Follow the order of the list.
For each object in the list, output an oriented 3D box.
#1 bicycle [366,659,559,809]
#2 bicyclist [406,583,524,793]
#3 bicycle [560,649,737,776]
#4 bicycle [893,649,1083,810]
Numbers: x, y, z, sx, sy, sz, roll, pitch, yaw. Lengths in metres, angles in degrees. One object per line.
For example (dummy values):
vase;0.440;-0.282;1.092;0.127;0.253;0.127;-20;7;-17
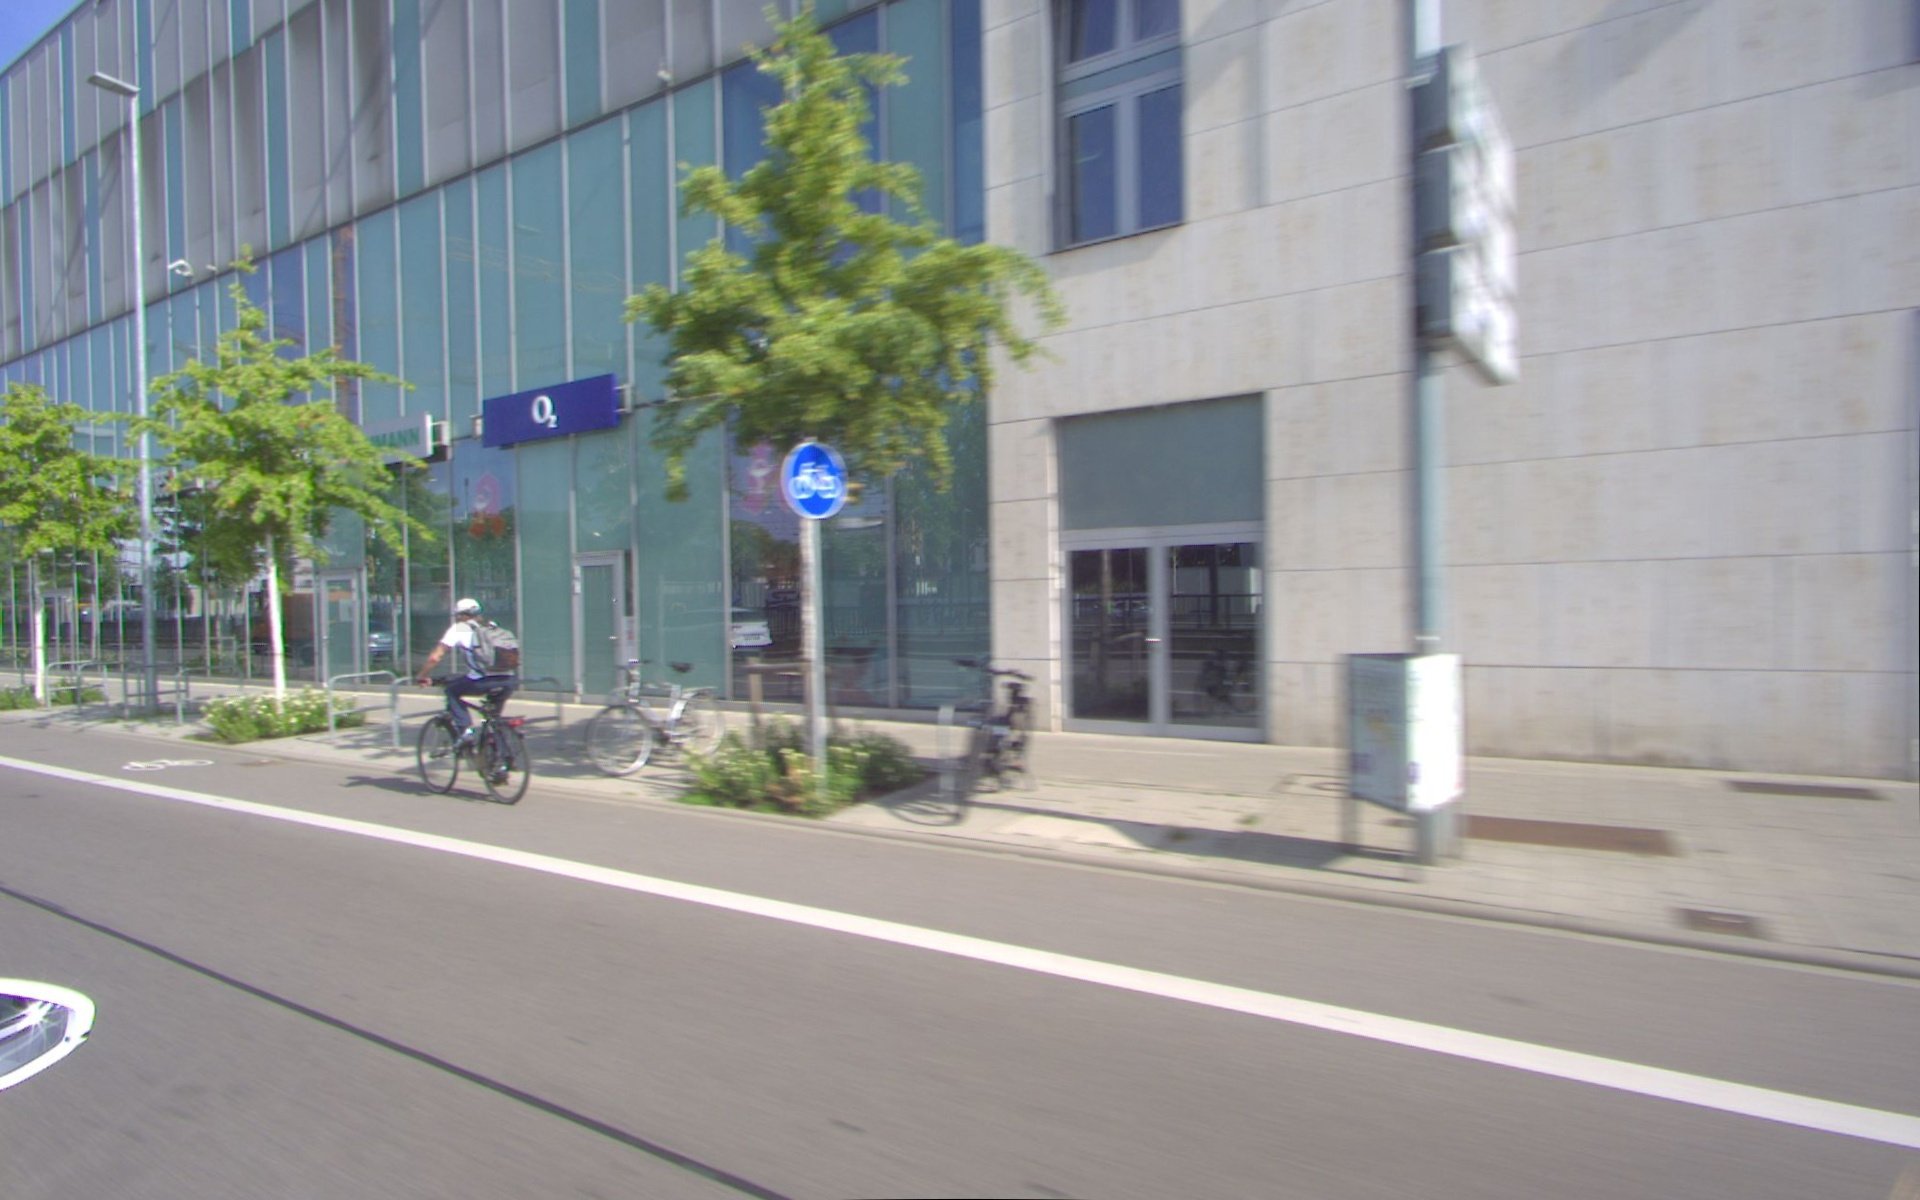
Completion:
bicycle;-4.498;1.141;8.992;2.023;1.132;0.659;0;0;35
bicyclist;-4.416;0.746;8.942;0.759;1.772;0.649;0;1;35
bicycle;-3.176;1.109;10.395;0.483;1.124;1.873;0;0;34
bicycle;0.285;0.981;8.163;0.677;1.127;1.835;0;-2;34
